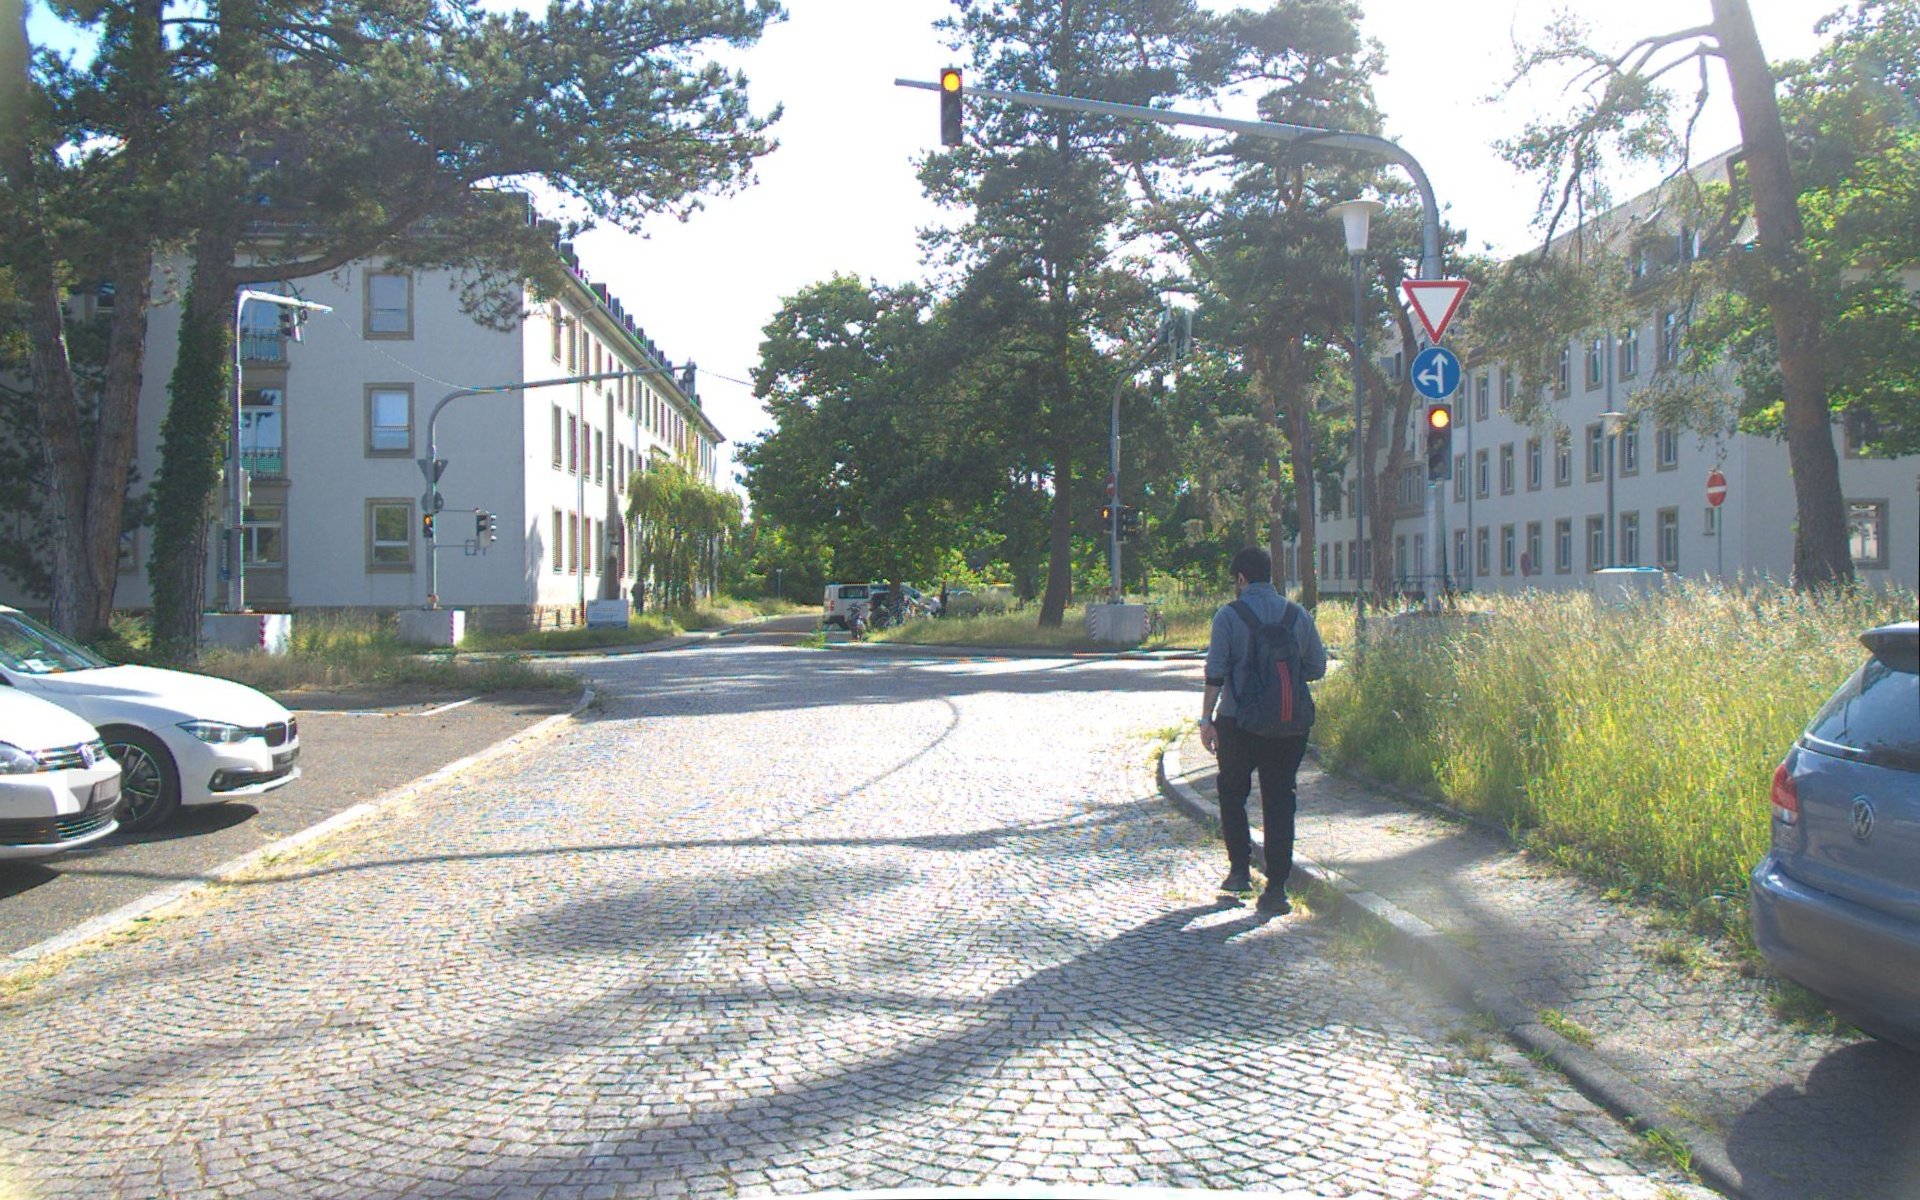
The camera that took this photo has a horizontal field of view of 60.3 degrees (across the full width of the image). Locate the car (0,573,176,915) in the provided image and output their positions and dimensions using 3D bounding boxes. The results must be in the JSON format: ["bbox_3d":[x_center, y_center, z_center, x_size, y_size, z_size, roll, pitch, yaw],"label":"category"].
[{"bbox_3d":[-6.451,0.641,8.694,3.804,1.643,1.659,2,0,-5],"label":"car"}]

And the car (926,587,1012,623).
[{"bbox_3d":[0.376,0.211,75.415,3.676,1.607,1.737,0,0,-11],"label":"car"}]

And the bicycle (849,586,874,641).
[{"bbox_3d":[-2.990,0.389,50.131,0.738,1.608,2.535,0,0,-4],"label":"bicycle"}]

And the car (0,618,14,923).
[{"bbox_3d":[-5.877,0.724,5.958,3.861,1.470,1.689,3,0,-5],"label":"car"}]

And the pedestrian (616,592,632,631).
[{"bbox_3d":[-13.534,0.459,66.585,0.596,1.587,0.544,0,0,-10],"label":"pedestrian"}]

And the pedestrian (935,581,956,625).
[{"bbox_3d":[-0.622,0.126,69.847,0.746,1.815,0.682,-1,0,-11],"label":"pedestrian"}]

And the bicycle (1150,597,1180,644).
[{"bbox_3d":[5.188,0.504,41.958,0.706,1.134,2.585,-1,0,6],"label":"bicycle"}]

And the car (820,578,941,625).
[{"bbox_3d":[-3.441,0.064,71.217,4.979,1.951,1.993,-1,0,-13],"label":"car"}]

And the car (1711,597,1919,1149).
[{"bbox_3d":[4.367,0.689,4.804,3.601,1.468,1.664,-2,0,-4],"label":"car"}]

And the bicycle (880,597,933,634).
[{"bbox_3d":[-1.770,0.520,54.647,1.694,1.185,0.560,-1,0,-7],"label":"bicycle"}]

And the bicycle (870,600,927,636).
[{"bbox_3d":[-1.994,0.566,53.405,1.799,1.132,0.494,-1,0,-7],"label":"bicycle"}]

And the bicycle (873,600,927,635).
[{"bbox_3d":[-1.960,0.563,53.953,1.694,1.132,0.483,-1,0,-7],"label":"bicycle"}]

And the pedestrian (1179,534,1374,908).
[{"bbox_3d":[1.553,0.573,8.238,0.738,1.755,0.828,1,0,-4],"label":"pedestrian"}]

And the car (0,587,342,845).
[{"bbox_3d":[-6.502,0.692,11.213,3.905,1.522,1.773,2,0,1],"label":"car"}]

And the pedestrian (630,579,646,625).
[{"bbox_3d":[-12.795,0.076,65.694,0.597,1.783,0.627,0,0,-16],"label":"pedestrian"}]
